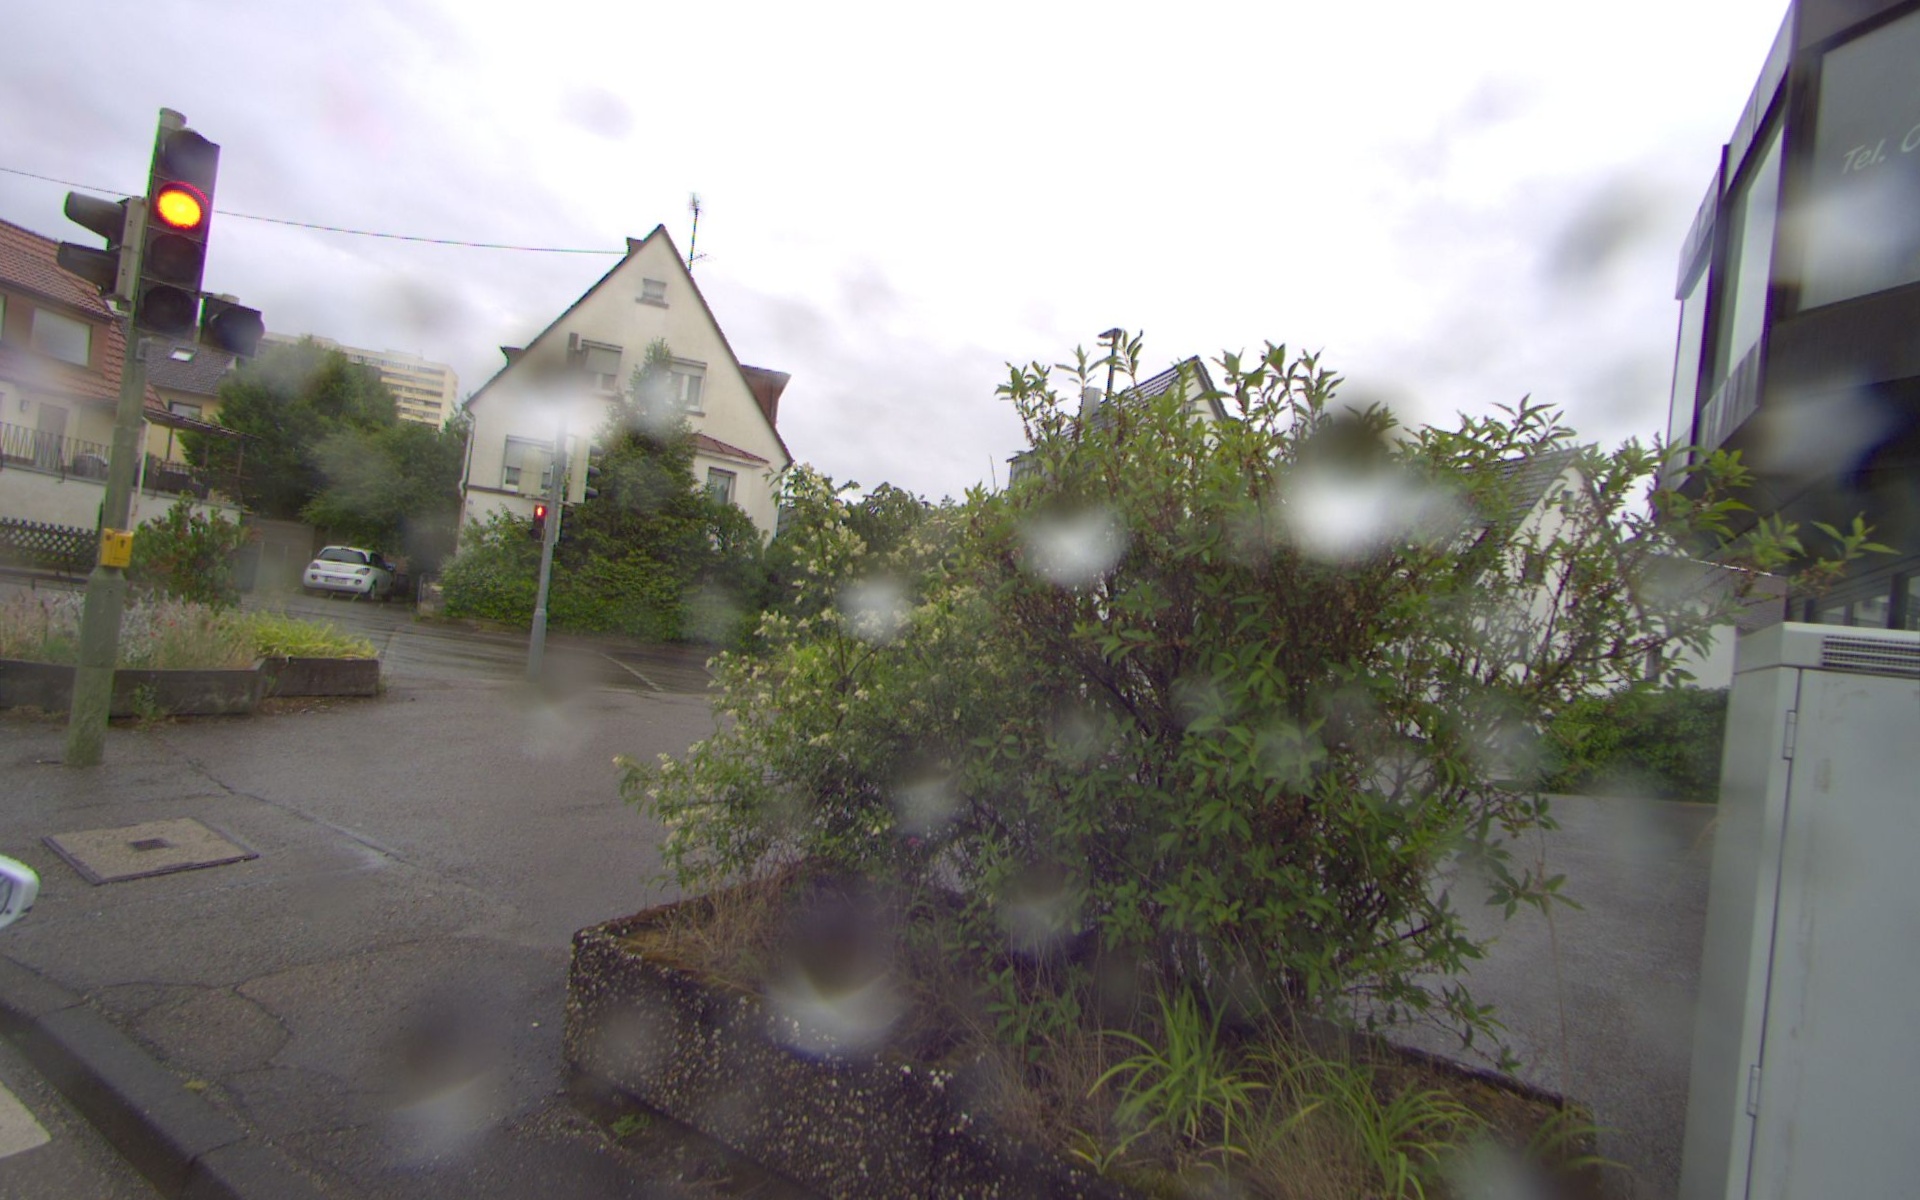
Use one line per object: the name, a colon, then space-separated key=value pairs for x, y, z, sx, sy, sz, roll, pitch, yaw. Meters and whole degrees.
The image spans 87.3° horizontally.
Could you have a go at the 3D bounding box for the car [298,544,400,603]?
car: x=-17.756 y=-0.737 z=29.411 sx=1.794 sy=1.378 sz=3.981 roll=8 pitch=-2 yaw=-22

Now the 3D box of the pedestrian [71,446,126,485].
pedestrian: x=-24.272 y=-3.795 z=28.361 sx=0.623 sy=0.893 sz=0.920 roll=5 pitch=-2 yaw=13
